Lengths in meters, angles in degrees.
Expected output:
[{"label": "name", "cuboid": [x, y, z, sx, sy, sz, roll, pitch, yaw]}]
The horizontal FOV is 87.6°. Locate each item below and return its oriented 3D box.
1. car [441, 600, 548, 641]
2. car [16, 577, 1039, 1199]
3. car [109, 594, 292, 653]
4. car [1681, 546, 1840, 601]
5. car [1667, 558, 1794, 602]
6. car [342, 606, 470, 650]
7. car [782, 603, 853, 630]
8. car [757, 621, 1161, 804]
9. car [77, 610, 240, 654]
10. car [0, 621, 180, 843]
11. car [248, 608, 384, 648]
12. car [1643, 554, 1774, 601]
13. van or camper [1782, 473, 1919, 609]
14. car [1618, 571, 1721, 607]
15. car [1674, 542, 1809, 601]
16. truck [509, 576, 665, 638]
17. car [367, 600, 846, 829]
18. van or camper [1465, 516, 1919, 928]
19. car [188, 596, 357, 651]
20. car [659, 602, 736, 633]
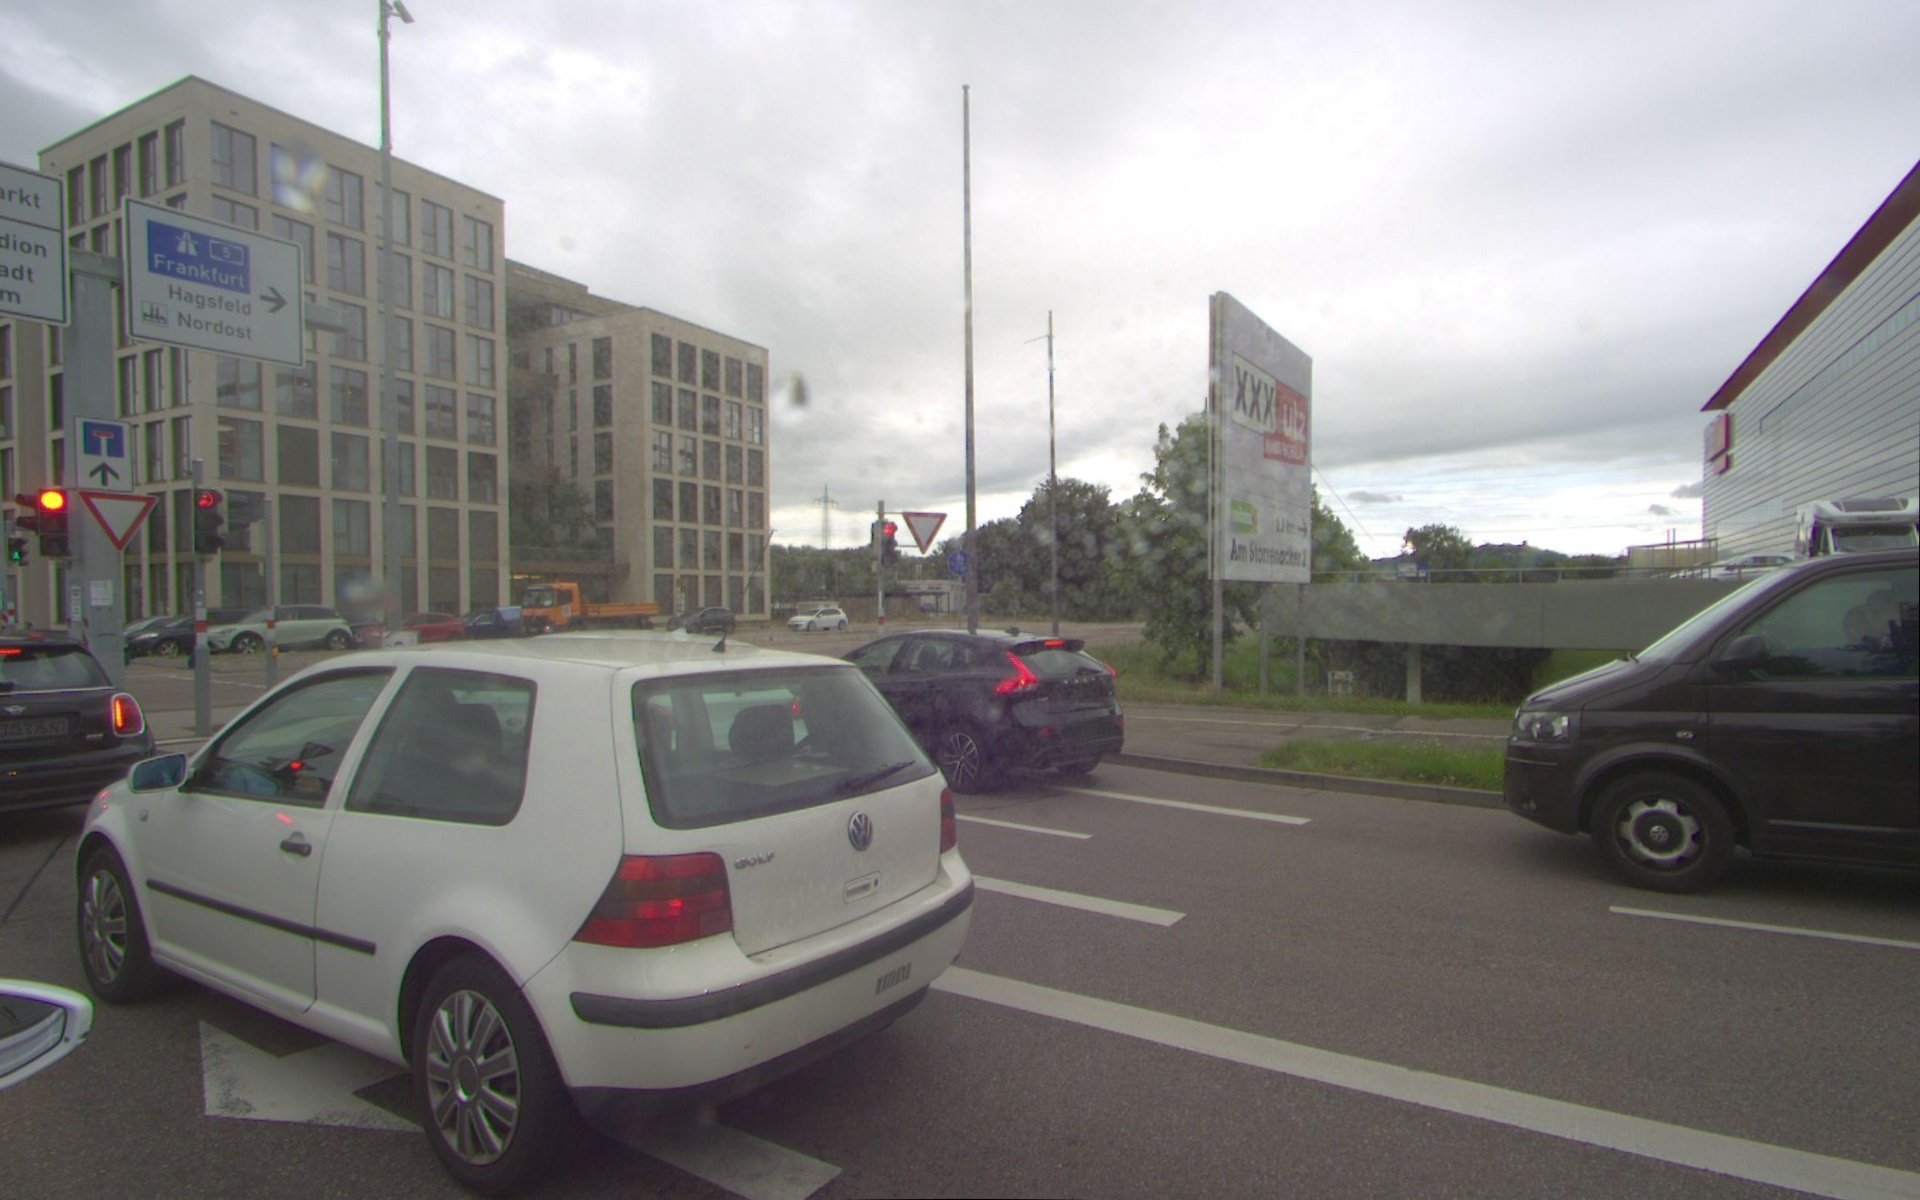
[{"label": "car", "cuboid": [-21.520, 0.995, 46.446, 1.969, 1.791, 4.134, -1, -2, 28]}, {"label": "car", "cuboid": [-1.855, 0.767, 3.968, 3.948, 1.496, 1.829, -1, -2, 32]}, {"label": "car", "cuboid": [-24.999, 0.806, 33.126, 1.969, 1.791, 4.405, -1, -2, 28]}, {"label": "car", "cuboid": [28.402, -0.892, 35.717, 4.199, 1.697, 1.768, -1, -2, 32]}, {"label": "car", "cuboid": [33.359, -0.816, 43.516, 4.199, 1.697, 1.768, -1, -2, 32]}, {"label": "car", "cuboid": [-21.632, 1.125, 39.244, 1.970, 1.622, 3.984, -1, -2, 29]}, {"label": "car", "cuboid": [-9.237, 1.103, 64.960, 1.979, 1.678, 4.323, -2, -2, 43]}, {"label": "car", "cuboid": [-0.202, 0.981, 10.217, 1.885, 1.467, 4.144, 1, -2, -41]}, {"label": "car", "cuboid": [-27.753, 1.118, 34.825, 1.724, 1.450, 4.083, -1, -2, 28]}, {"label": "car", "cuboid": [-7.674, 0.895, 7.508, 3.591, 1.433, 1.783, -1, -2, 32]}, {"label": "car", "cuboid": [-25.207, 1.115, 39.318, 1.843, 1.509, 4.134, -1, -2, 28]}, {"label": "car", "cuboid": [30.951, -0.887, 41.563, 4.199, 1.697, 1.768, -1, -2, 32]}, {"label": "van or camper", "cuboid": [25.384, -1.442, 28.046, 2.676, 3.175, 7.201, -1, -2, 32]}, {"label": "car", "cuboid": [36.370, -0.540, 51.496, 4.199, 1.697, 1.768, -1, -2, 32]}, {"label": "car", "cuboid": [30.159, -1.061, 38.825, 3.945, 2.039, 1.989, -1, -2, 34]}, {"label": "truck", "cuboid": [-17.328, 0.433, 46.980, 2.779, 2.672, 6.647, -1, -2, 30]}, {"label": "car", "cuboid": [-3.054, 0.791, 8.270, 4.146, 1.428, 1.822, -2, -2, 38]}, {"label": "van or camper", "cuboid": [5.699, 0.623, 5.606, 4.878, 2.039, 2.151, -1, -2, 35]}, {"label": "car", "cuboid": [-21.878, 0.779, 32.032, 1.875, 1.664, 4.055, -1, -2, 27]}, {"label": "car", "cuboid": [-15.129, 1.045, 57.932, 1.972, 1.678, 4.098, -1, -2, 33]}]
